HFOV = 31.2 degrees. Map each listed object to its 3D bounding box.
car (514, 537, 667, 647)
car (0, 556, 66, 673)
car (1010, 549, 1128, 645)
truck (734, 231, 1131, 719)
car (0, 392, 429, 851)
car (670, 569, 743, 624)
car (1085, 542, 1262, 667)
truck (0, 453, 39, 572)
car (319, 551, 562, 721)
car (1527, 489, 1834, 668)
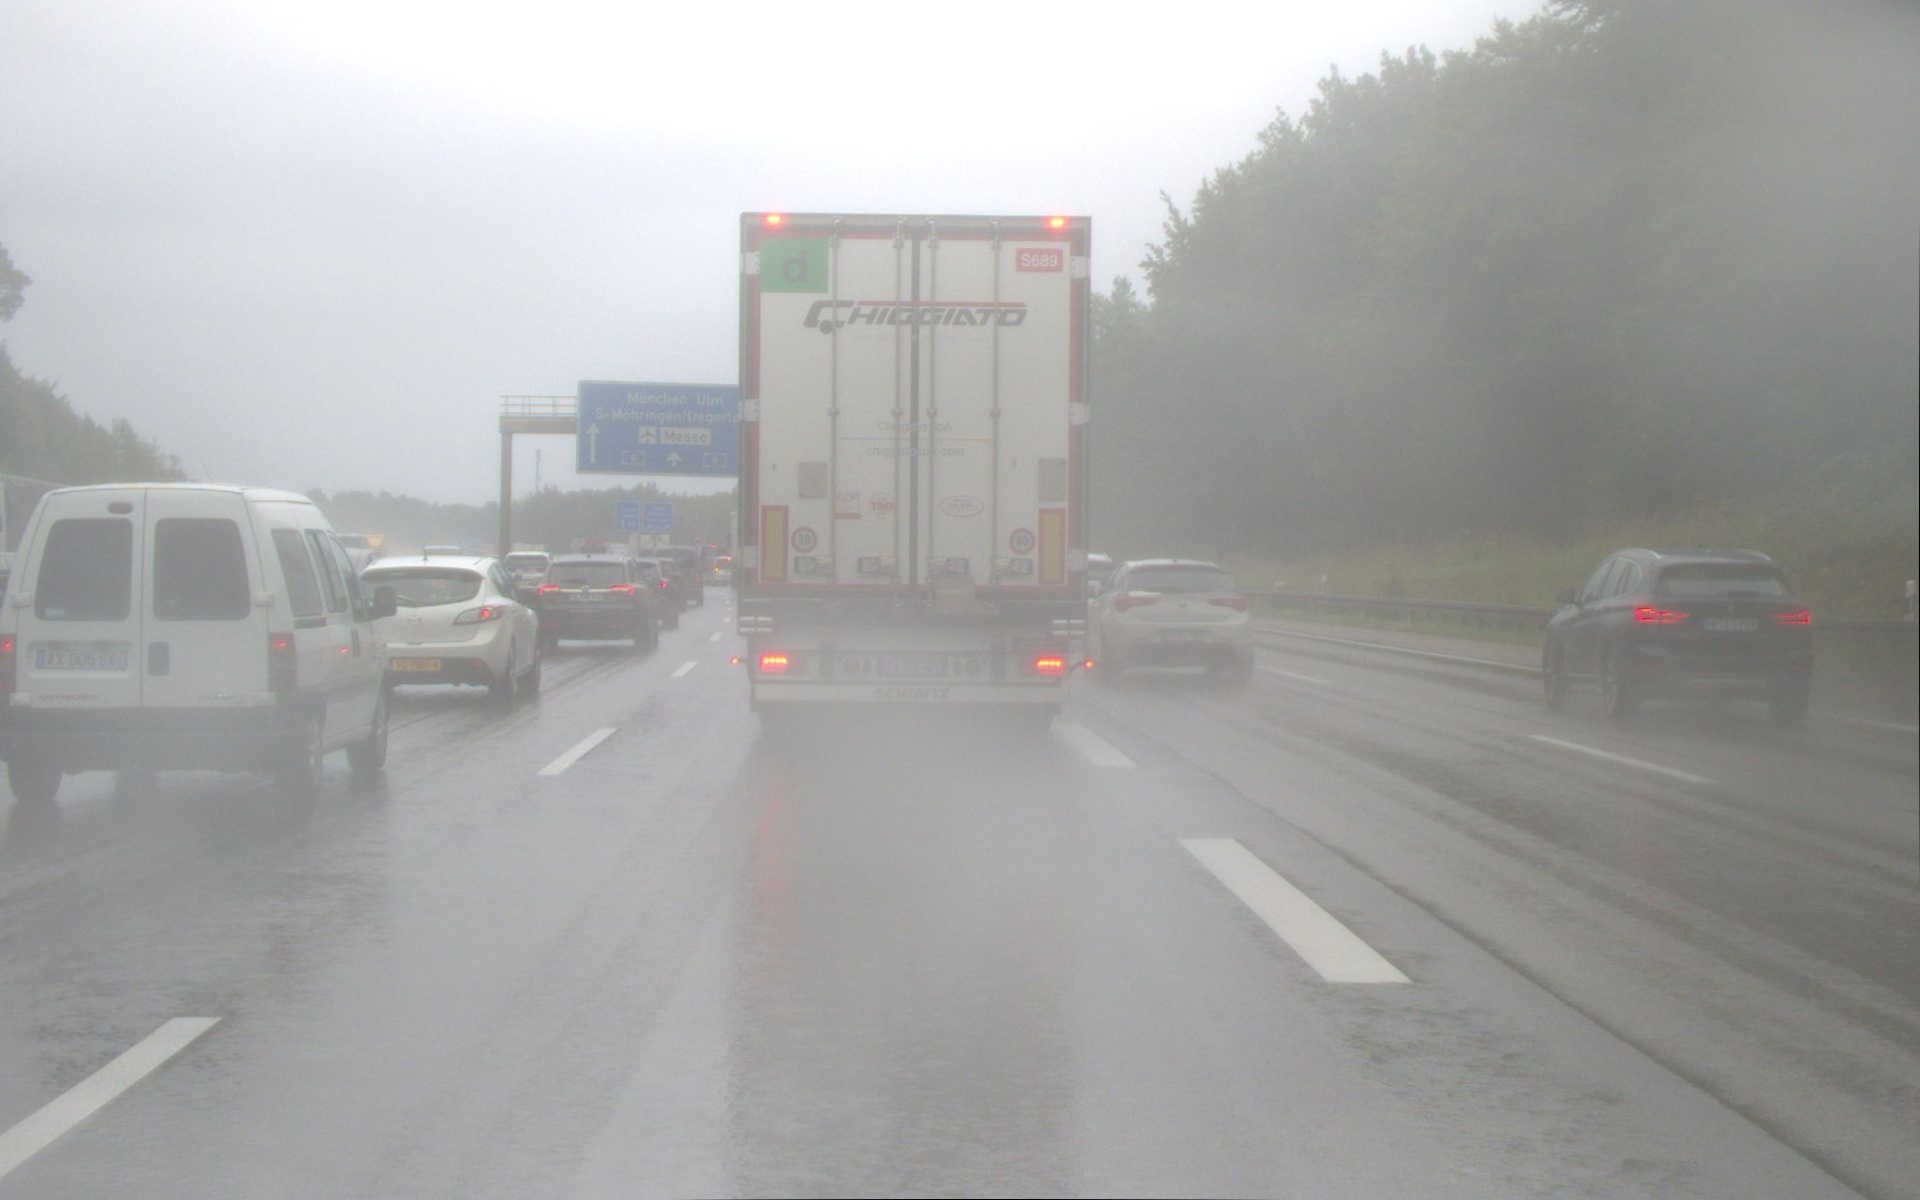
[{"bbox_3d":[-5.613,-0.161,52.685,1.845,1.586,4.467,1,1,0],"label":"car"},{"bbox_3d":[-13.629,0.202,46.151,2.090,1.499,4.755,-1,1,-1],"label":"car"},{"bbox_3d":[1.816,-0.076,58.335,1.845,1.517,4.344,1,1,0],"label":"car"},{"bbox_3d":[-0.279,-0.964,30.869,2.872,3.550,11.302,1,0,-1],"label":"truck"},{"bbox_3d":[-4.771,0.069,21.830,2.212,2.564,5.016,1,1,-3],"label":"car"},{"bbox_3d":[-6.663,-0.104,90.580,1.845,1.326,4.467,1,1,-3],"label":"car"},{"bbox_3d":[2.563,0.018,42.245,1.890,1.420,4.483,1,1,0],"label":"car"},{"bbox_3d":[-32.197,-2.841,111.779,3.020,3.805,6.265,0,1,-2],"label":"truck"},{"bbox_3d":[-5.241,0.317,35.140,1.845,1.586,4.072,1,1,0],"label":"car"},{"bbox_3d":[6.820,-0.241,33.059,1.990,1.578,4.767,1,1,1],"label":"car"}]
